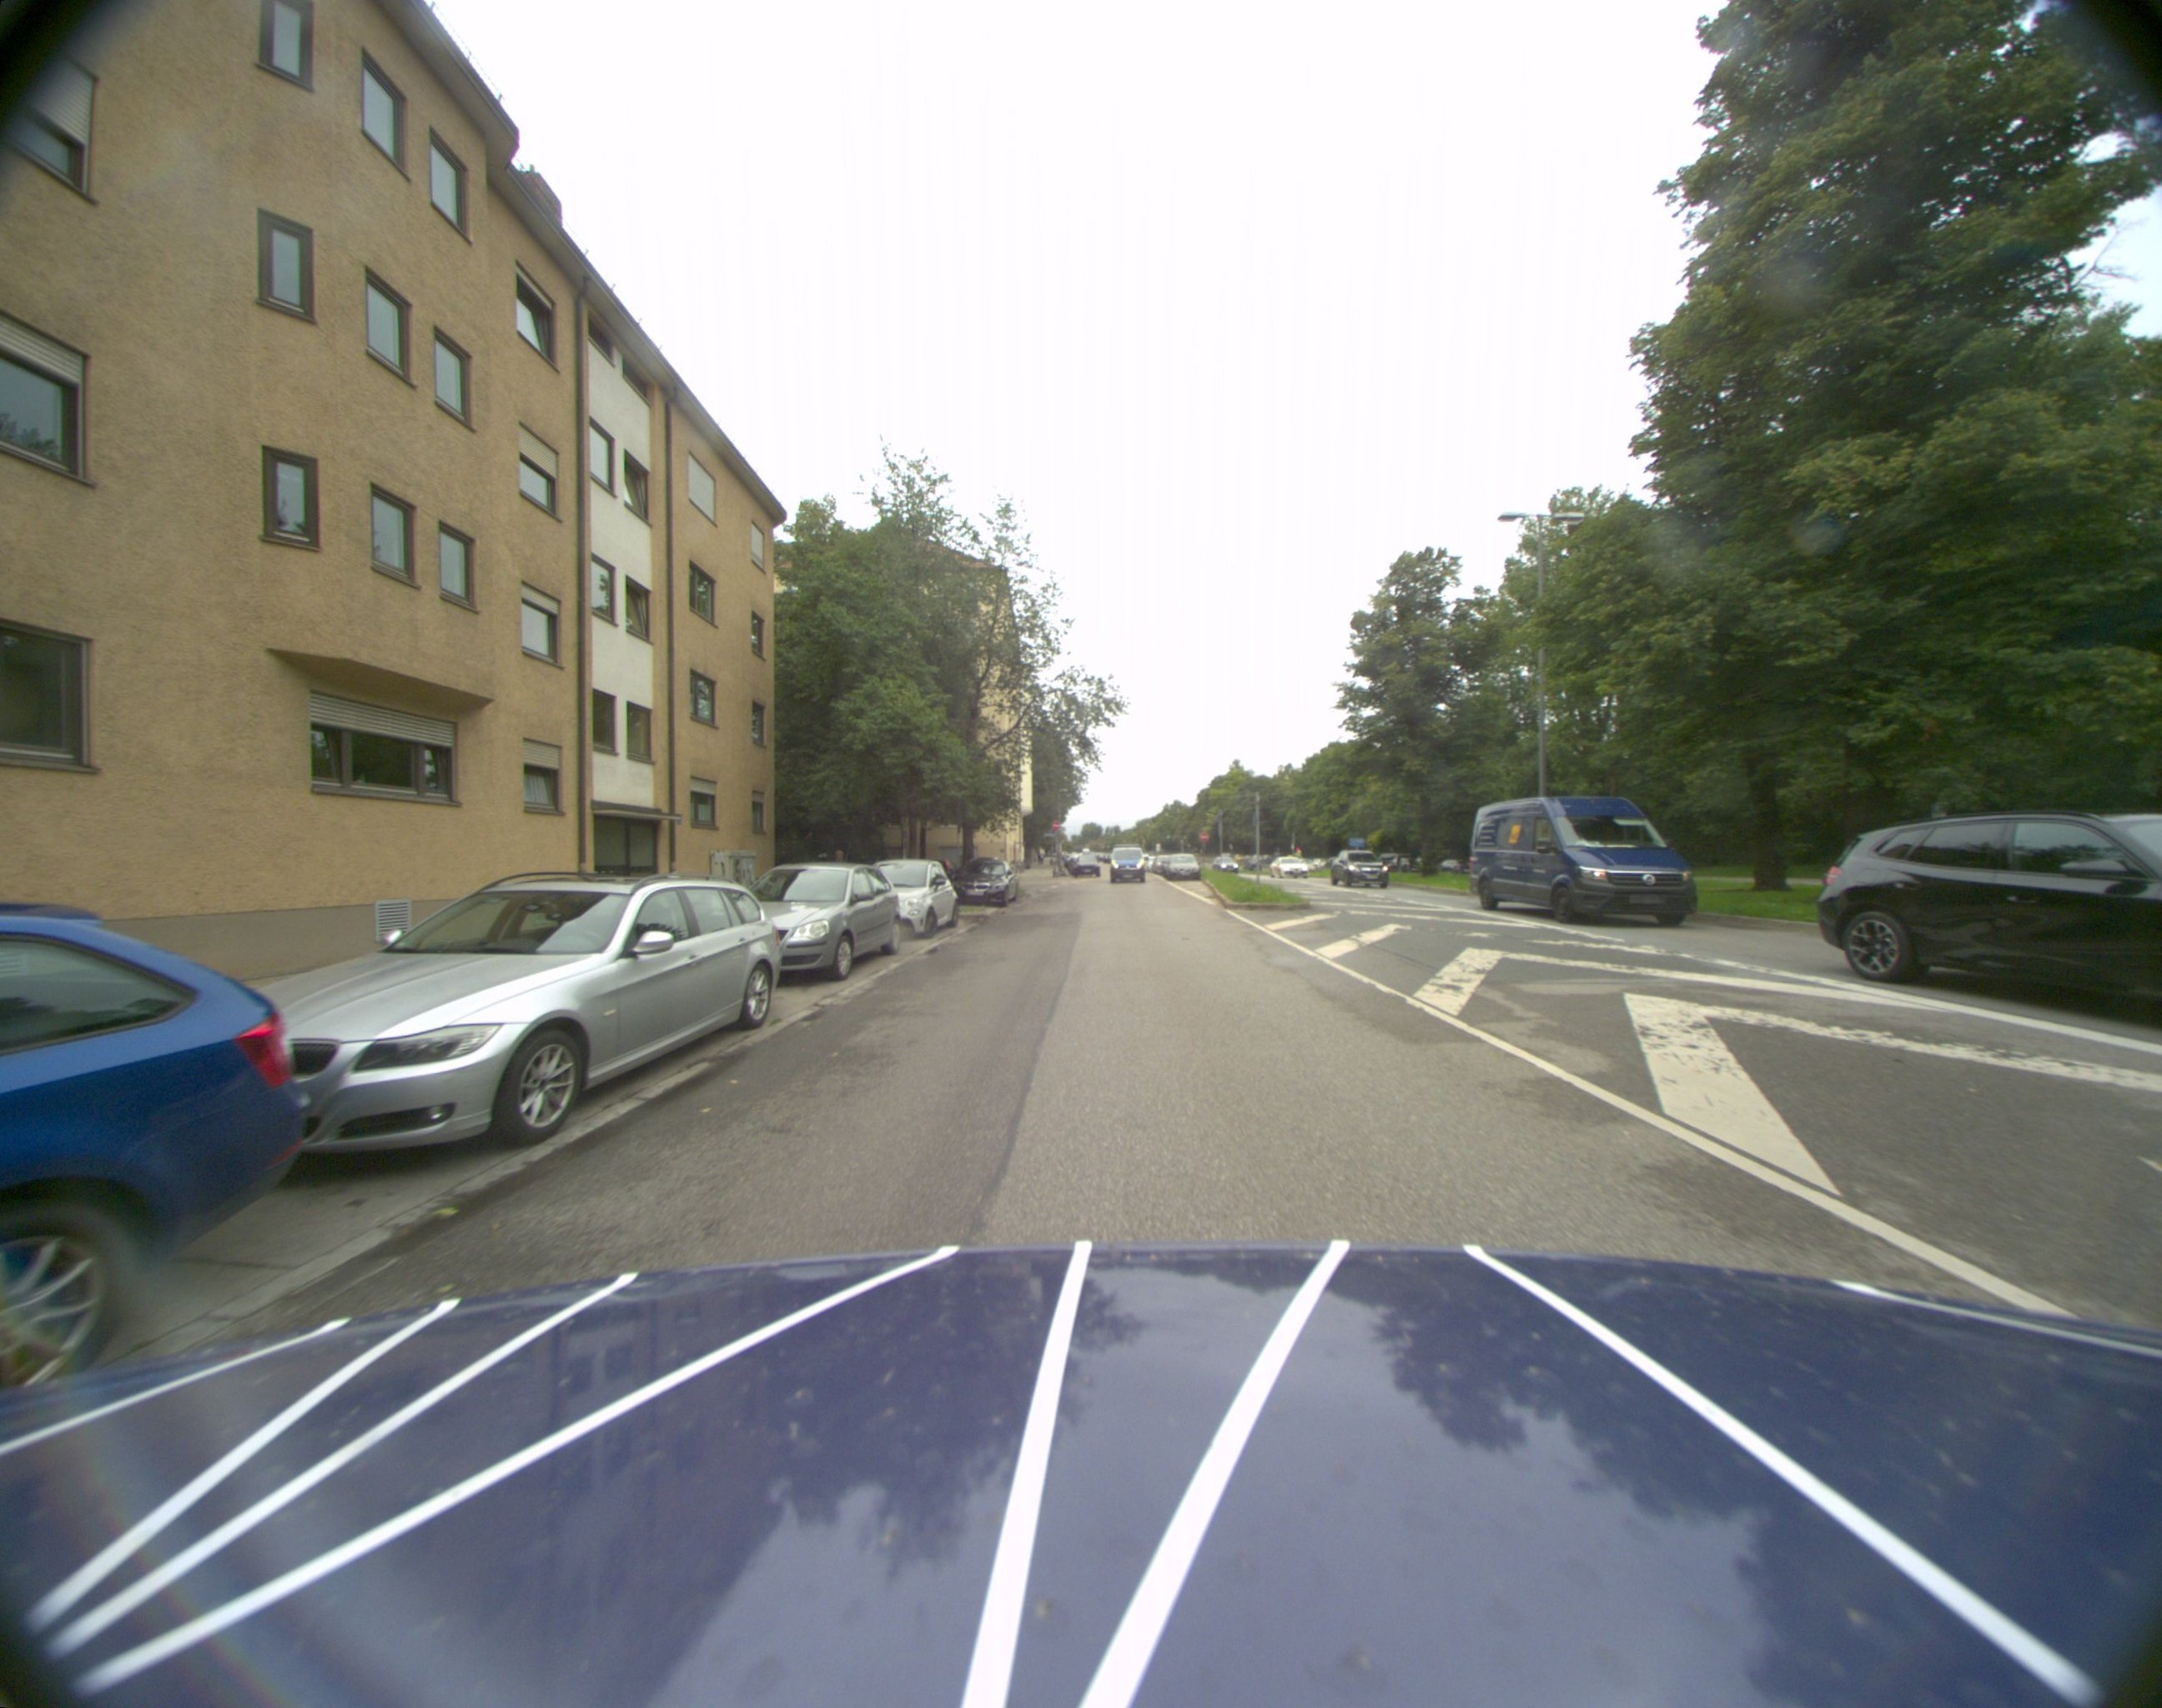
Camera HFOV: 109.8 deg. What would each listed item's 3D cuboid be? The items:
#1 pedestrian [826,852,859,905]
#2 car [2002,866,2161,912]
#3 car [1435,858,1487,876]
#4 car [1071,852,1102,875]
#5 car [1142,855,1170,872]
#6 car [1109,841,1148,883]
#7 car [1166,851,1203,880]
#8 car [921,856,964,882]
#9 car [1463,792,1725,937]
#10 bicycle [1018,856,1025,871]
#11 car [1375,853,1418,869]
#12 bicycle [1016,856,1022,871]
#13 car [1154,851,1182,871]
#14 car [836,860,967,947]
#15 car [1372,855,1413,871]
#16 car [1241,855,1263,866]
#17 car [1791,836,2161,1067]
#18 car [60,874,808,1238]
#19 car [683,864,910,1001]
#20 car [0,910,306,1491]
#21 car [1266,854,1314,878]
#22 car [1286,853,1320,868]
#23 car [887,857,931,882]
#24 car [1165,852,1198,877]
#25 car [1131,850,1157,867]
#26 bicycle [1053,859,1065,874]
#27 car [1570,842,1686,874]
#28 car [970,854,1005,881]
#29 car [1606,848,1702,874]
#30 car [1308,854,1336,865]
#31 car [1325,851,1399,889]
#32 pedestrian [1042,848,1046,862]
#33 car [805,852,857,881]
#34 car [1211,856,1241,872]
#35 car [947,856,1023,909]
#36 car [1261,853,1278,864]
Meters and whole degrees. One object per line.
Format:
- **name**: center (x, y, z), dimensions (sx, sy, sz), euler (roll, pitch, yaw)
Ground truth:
- **pedestrian**: center (-7.546, 0.767, 24.033), dimensions (0.672, 1.614, 0.980), euler (-1, 1, 2)
- **car**: center (35.784, 1.165, 26.189), dimensions (2.000, 1.438, 4.764), euler (1, 0, -10)
- **car**: center (32.412, 1.082, 64.976), dimensions (1.999, 1.438, 4.524), euler (1, 0, -4)
- **car**: center (0.433, 0.684, 56.067), dimensions (2.129, 1.556, 4.507), euler (-1, 0, 1)
- **car**: center (6.921, 0.874, 70.915), dimensions (1.993, 1.447, 4.281), euler (0, 0, -3)
- **car**: center (2.701, 0.366, 42.213), dimensions (1.855, 2.198, 4.555), euler (0, 1, 7)
- **car**: center (5.931, 0.608, 43.916), dimensions (1.903, 1.556, 4.772), euler (0, 0, 6)
- **car**: center (-8.484, 0.889, 46.893), dimensions (2.054, 1.458, 4.244), euler (0, 0, -3)
- **car**: center (10.144, 0.136, 15.799), dimensions (2.188, 2.450, 5.854), euler (0, 1, 8)
- **bicycle**: center (-4.901, 0.785, 62.430), dimensions (0.401, 1.164, 1.318), euler (-1, 0, -11)
- **car**: center (28.177, 0.611, 67.939), dimensions (1.897, 1.438, 4.031), euler (0, 0, -6)
- **bicycle**: center (-4.902, 0.767, 60.239), dimensions (0.364, 1.164, 1.318), euler (-1, 0, -11)
- **car**: center (6.799, 0.527, 59.671), dimensions (1.991, 1.556, 4.284), euler (0, 0, 4)
- **car**: center (-3.476, 0.897, 15.406), dimensions (1.632, 1.487, 3.821), euler (1, 0, 2)
- **car**: center (31.658, 0.894, 77.307), dimensions (1.999, 1.526, 4.705), euler (1, 0, -4)
- **car**: center (21.549, 0.808, 95.855), dimensions (1.896, 1.438, 4.033), euler (0, 0, 0)
- **car**: center (8.519, 0.656, 5.926), dimensions (1.917, 1.577, 4.833), euler (-2, 0, 8)
- **car**: center (-3.710, 0.966, 5.629), dimensions (1.694, 1.487, 4.434), euler (1, 0, 1)
- **car**: center (-3.671, 0.915, 10.549), dimensions (1.632, 1.487, 3.787), euler (1, 0, 2)
- **car**: center (-3.821, 0.960, 0.598), dimensions (1.761, 1.487, 4.488), euler (1, 0, 2)
- **car**: center (14.241, 0.781, 52.015), dimensions (1.992, 1.556, 4.654), euler (0, 0, -1)
- **car**: center (22.166, 0.632, 76.063), dimensions (1.833, 1.438, 4.234), euler (1, 0, -6)
- **car**: center (-10.570, 0.912, 46.973), dimensions (1.917, 1.458, 4.244), euler (0, 0, -3)
- **car**: center (6.569, 0.639, 49.843), dimensions (1.991, 1.556, 4.284), euler (0, 0, 6)
- **car**: center (6.586, 0.430, 80.229), dimensions (2.075, 1.692, 5.089), euler (-1, 0, -3)
- **bicycle**: center (-1.546, 0.913, 54.677), dimensions (0.632, 1.031, 1.736), euler (0, 0, 6)
- **car**: center (25.881, 0.196, 36.149), dimensions (1.898, 1.438, 4.385), euler (0, 0, -10)
- **car**: center (-5.748, 0.804, 47.228), dimensions (1.825, 1.556, 4.244), euler (0, 0, -3)
- **car**: center (33.427, 0.408, 44.501), dimensions (1.999, 1.438, 4.524), euler (1, 0, -4)
- **car**: center (31.346, 0.683, 98.936), dimensions (1.999, 1.438, 4.316), euler (1, 0, -4)
- **car**: center (12.715, 0.683, 34.651), dimensions (1.992, 1.618, 4.274), euler (0, 0, 3)
- **pedestrian**: center (-5.570, 0.126, 113.889), dimensions (0.458, 2.002, 0.617), euler (0, 0, -18)
- **car**: center (-15.494, 0.748, 47.281), dimensions (1.917, 1.741, 4.244), euler (0, 0, -2)
- **car**: center (14.219, 0.946, 74.839), dimensions (1.992, 1.556, 4.272), euler (0, 0, -1)
- **car**: center (-3.040, 0.845, 24.846), dimensions (1.796, 1.488, 4.376), euler (2, 0, 1)
- **car**: center (30.431, 0.647, 122.798), dimensions (1.866, 1.736, 4.000), euler (-1, 0, 0)
